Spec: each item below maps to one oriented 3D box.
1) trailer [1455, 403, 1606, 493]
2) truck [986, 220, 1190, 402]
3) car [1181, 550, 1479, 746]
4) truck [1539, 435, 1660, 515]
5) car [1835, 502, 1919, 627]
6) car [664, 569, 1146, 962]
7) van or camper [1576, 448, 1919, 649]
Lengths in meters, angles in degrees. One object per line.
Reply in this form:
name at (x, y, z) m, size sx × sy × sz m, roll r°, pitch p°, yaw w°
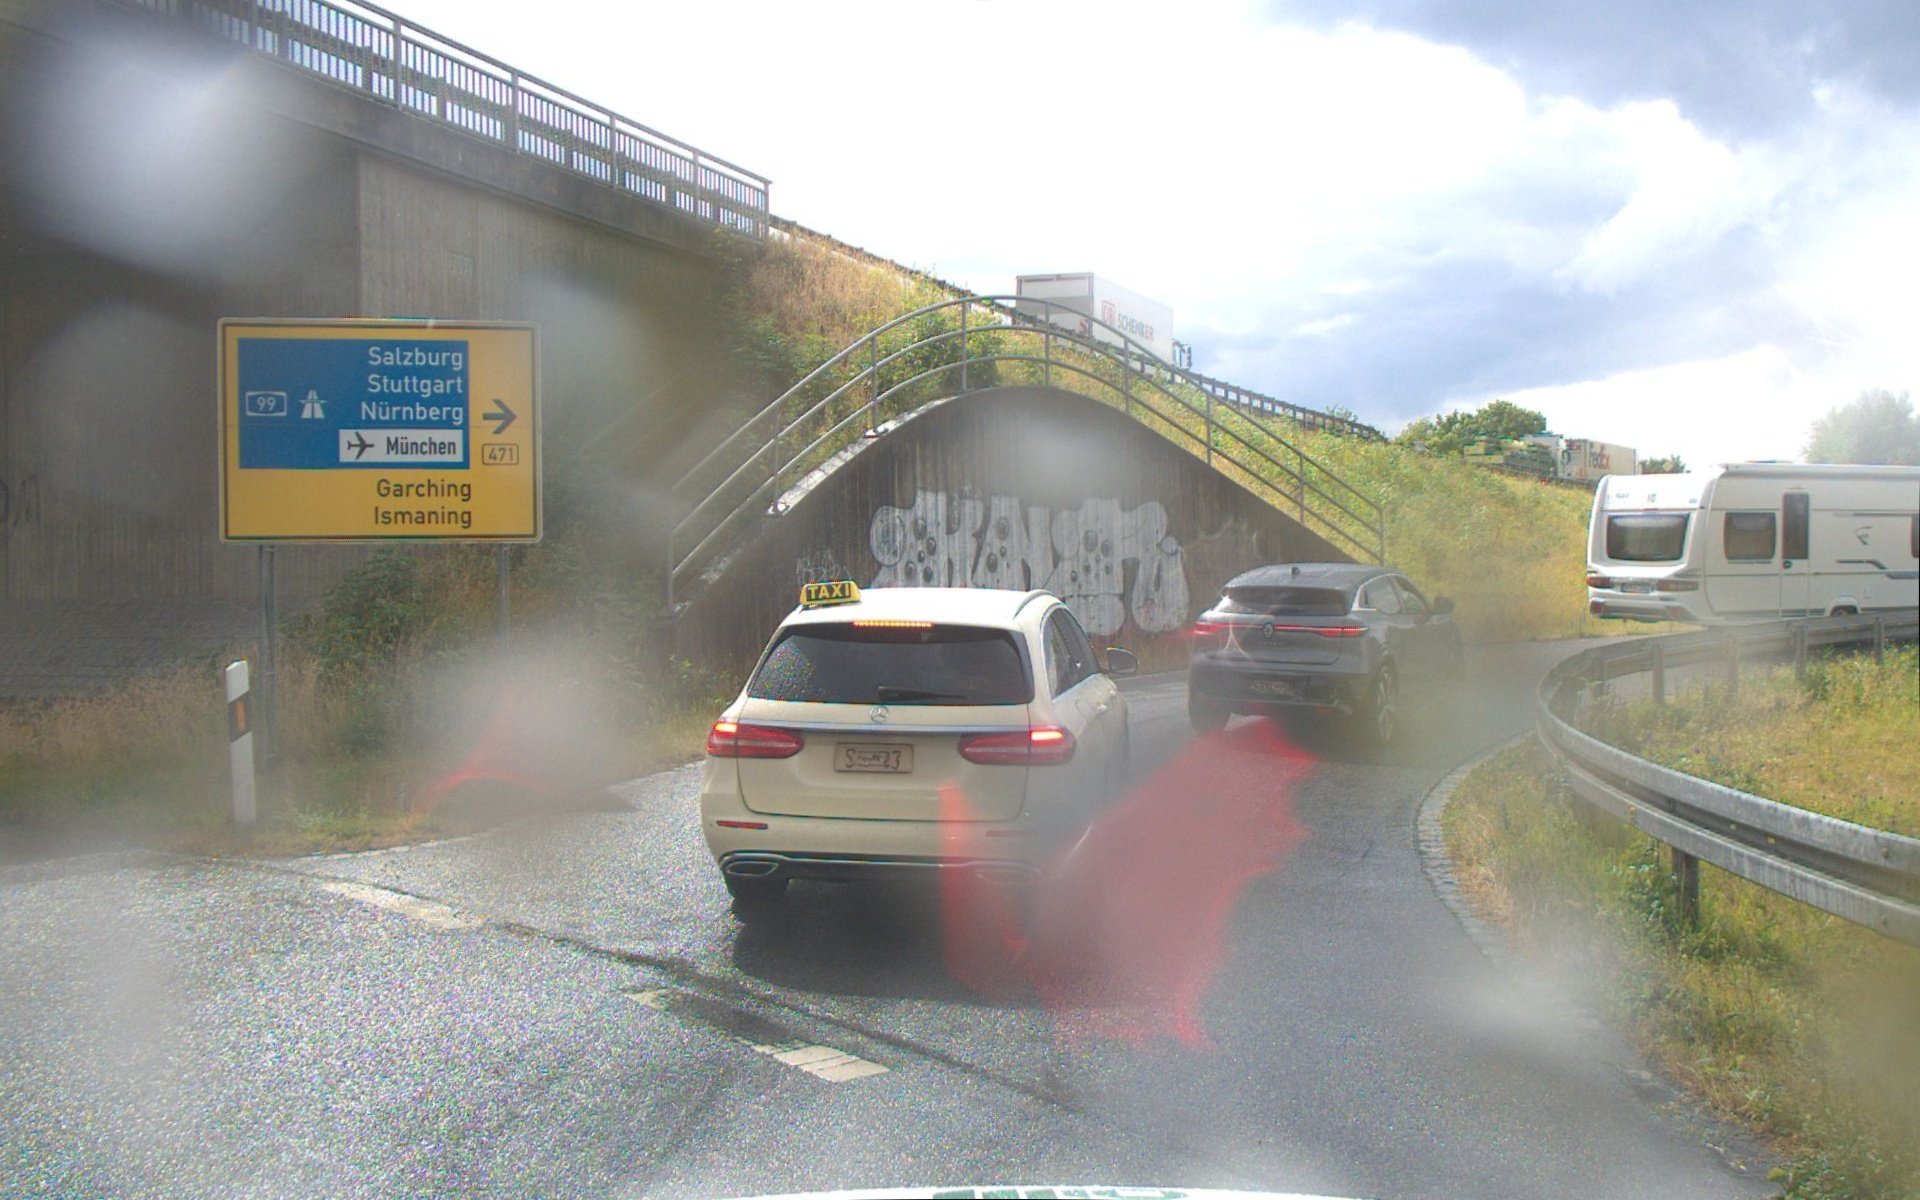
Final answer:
trailer at (37.216, -9.570, 106.943) m, size 4.336 × 4.025 × 20.158 m, roll 1°, pitch 0°, yaw 33°
truck at (4.212, -8.770, 51.693) m, size 3.118 × 4.035 × 9.227 m, roll 1°, pitch 0°, yaw 26°
car at (3.596, 0.340, 15.534) m, size 1.685 × 1.551 × 3.994 m, roll 2°, pitch 2°, yaw 28°
truck at (47.899, -9.123, 123.232) m, size 4.382 × 4.581 × 19.319 m, roll 1°, pitch 0°, yaw 33°
car at (17.555, -0.657, 27.083) m, size 5.649 × 1.958 × 2.426 m, roll -2°, pitch 3°, yaw -17°
car at (0.017, 0.619, 8.991) m, size 1.875 × 1.533 × 4.600 m, roll 0°, pitch 1°, yaw 8°
van or camper at (12.504, -0.859, 25.171) m, size 5.903 × 2.776 × 2.421 m, roll -2°, pitch 3°, yaw -24°
